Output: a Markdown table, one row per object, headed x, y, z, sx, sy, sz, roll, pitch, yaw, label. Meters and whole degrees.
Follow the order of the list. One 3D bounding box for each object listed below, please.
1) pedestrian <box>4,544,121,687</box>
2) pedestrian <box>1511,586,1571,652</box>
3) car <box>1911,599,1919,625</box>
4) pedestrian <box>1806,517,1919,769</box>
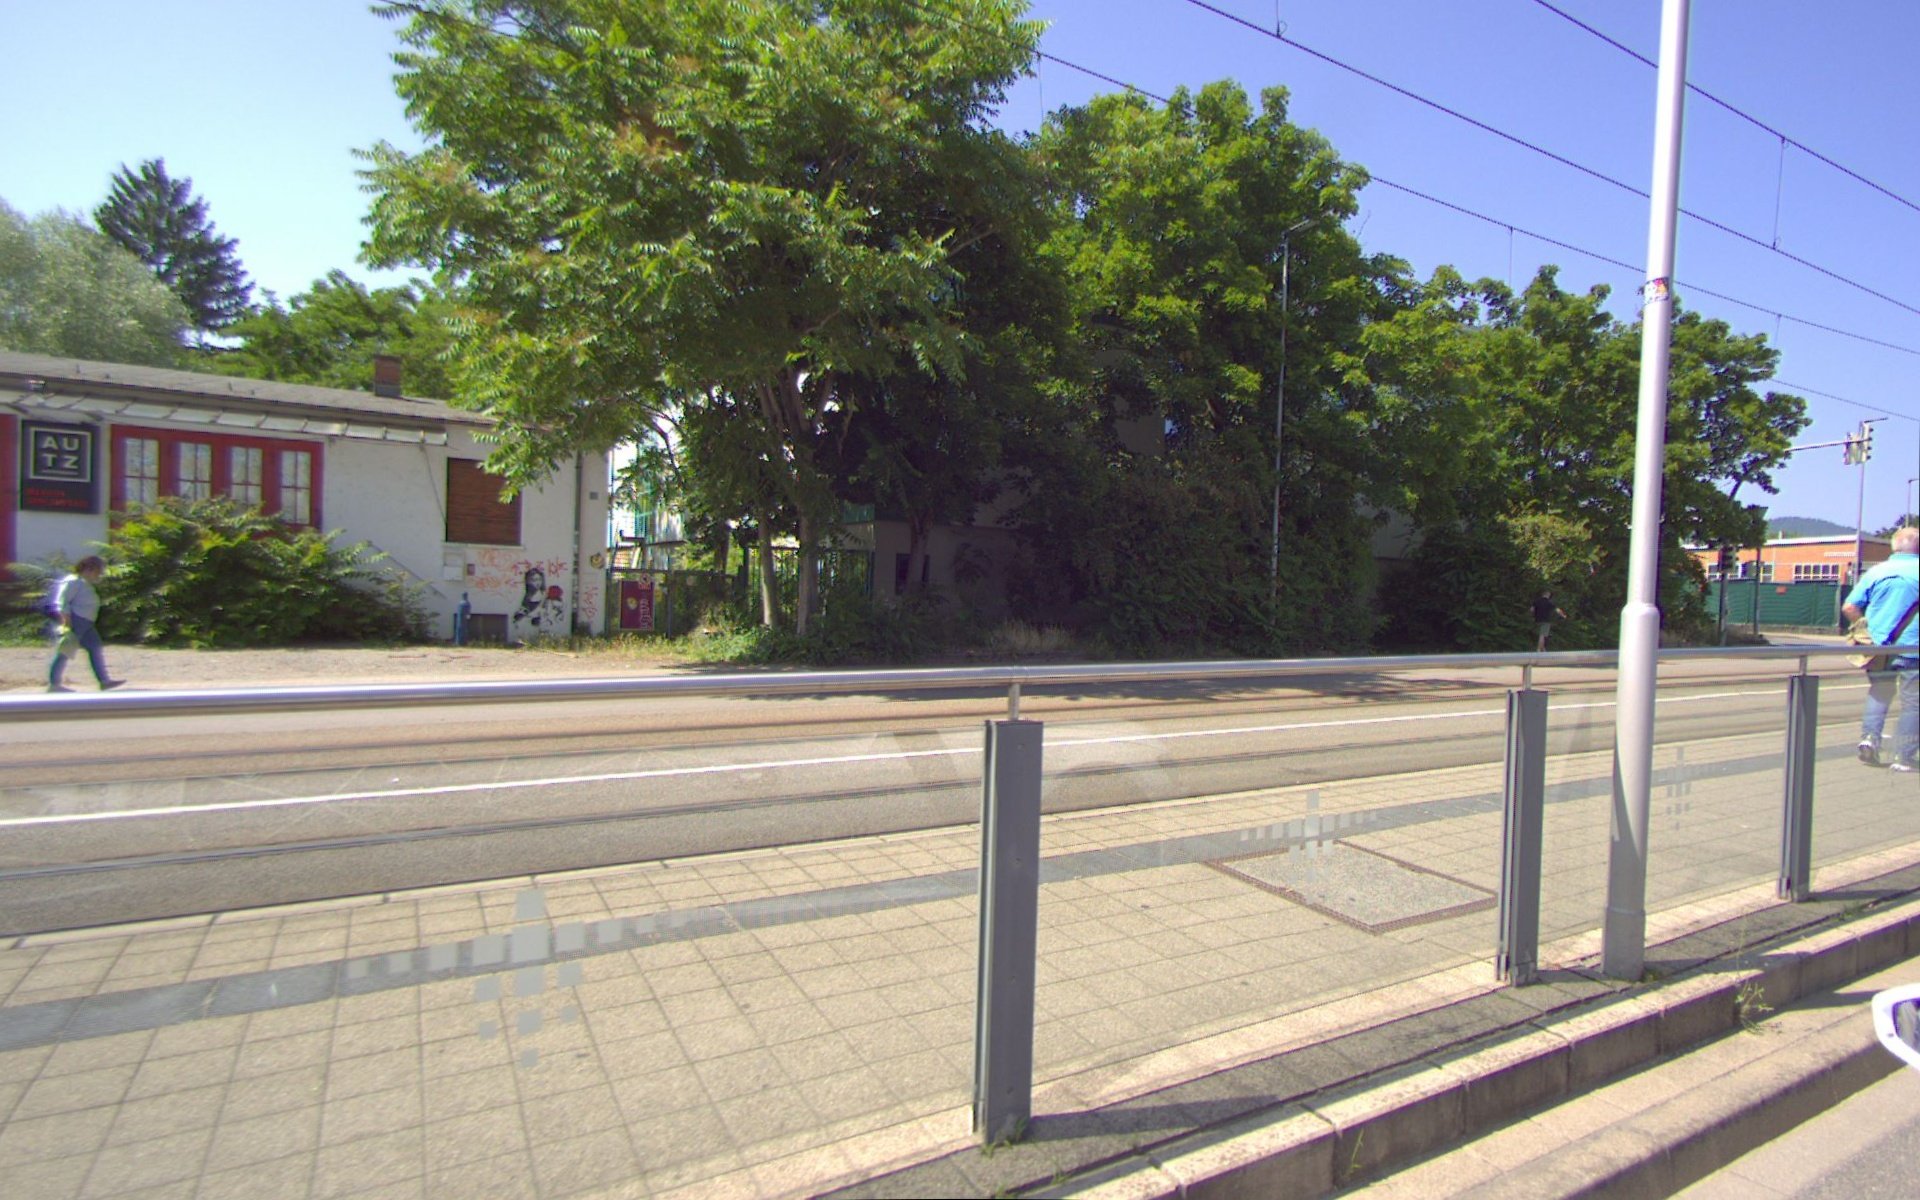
| x | y | z | sx | sy | sz | roll | pitch | yaw | label |
| --- | --- | --- | --- | --- | --- | --- | --- | --- | --- |
| -10.223 | 0.165 | 11.478 | 0.836 | 1.547 | 0.866 | 1 | 1 | -30 | pedestrian |
| 15.268 | 0.485 | 26.399 | 1.146 | 1.693 | 0.881 | 1 | 1 | -30 | pedestrian |
| 53.161 | 0.679 | 54.115 | 1.880 | 1.461 | 4.583 | 2 | 1 | 33 | car |
| 6.962 | 0.289 | 7.437 | 0.933 | 1.748 | 0.720 | 0 | 3 | -30 | pedestrian |
